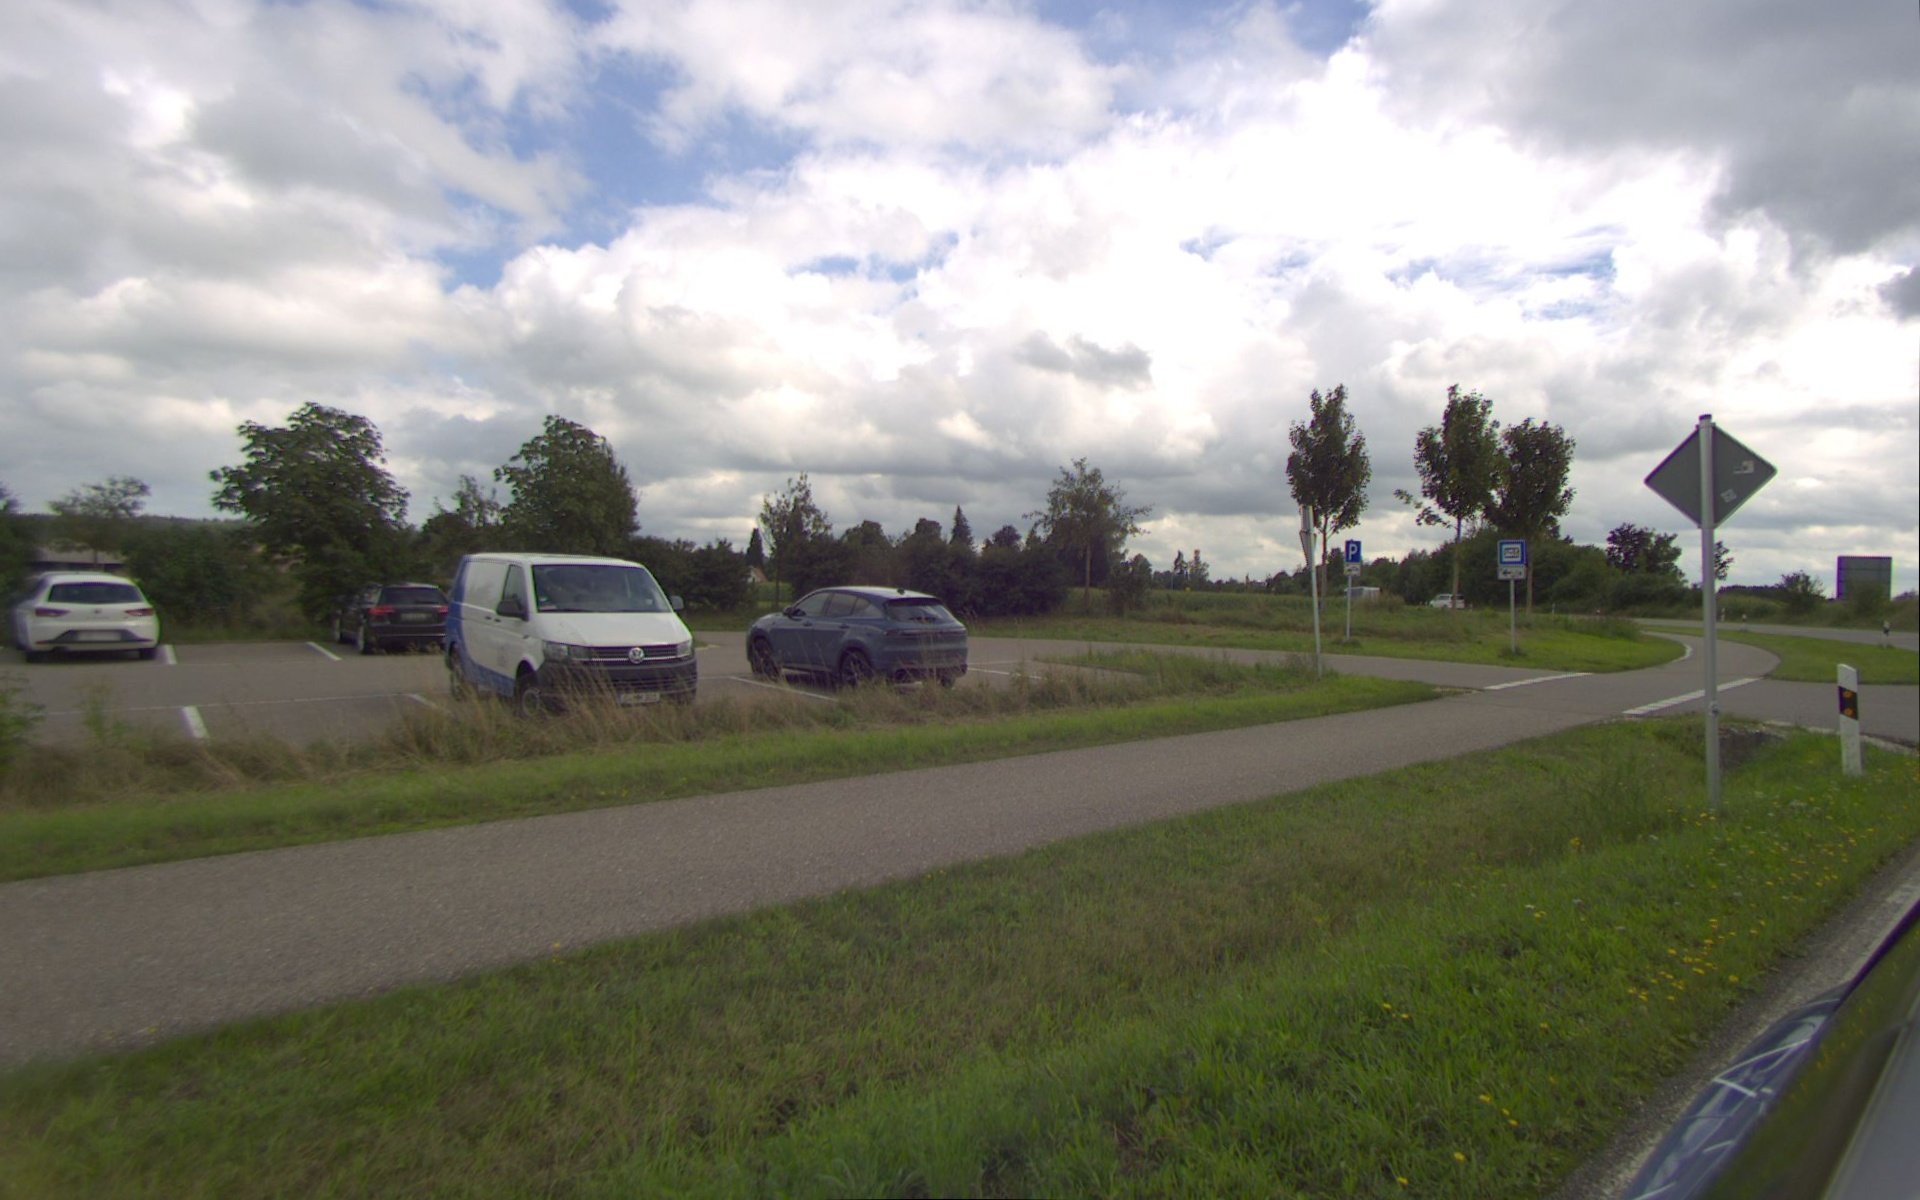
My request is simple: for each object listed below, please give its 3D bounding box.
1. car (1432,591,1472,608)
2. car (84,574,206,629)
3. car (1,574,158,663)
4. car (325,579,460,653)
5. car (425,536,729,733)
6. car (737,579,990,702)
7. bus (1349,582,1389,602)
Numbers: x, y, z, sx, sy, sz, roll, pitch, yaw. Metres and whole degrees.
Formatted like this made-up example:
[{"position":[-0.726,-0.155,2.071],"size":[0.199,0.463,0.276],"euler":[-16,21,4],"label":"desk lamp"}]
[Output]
[{"position":[58.032,-0.085,119.481],"size":[2.079,1.892,5.187],"euler":[1,1,-1],"label":"car"},{"position":[-19.141,0.006,23.705],"size":[1.966,1.182,3.991],"euler":[0,1,-43],"label":"car"},{"position":[-15.685,0.267,17.977],"size":[3.686,1.408,1.732],"euler":[1,1,43],"label":"car"},{"position":[-11.953,0.271,21.228],"size":[1.700,1.408,3.692],"euler":[0,1,-42],"label":"car"},{"position":[-5.013,0.313,12.785],"size":[1.922,1.999,4.952],"euler":[0,1,-42],"label":"car"},{"position":[-1.668,0.522,16.148],"size":[1.807,1.585,4.278],"euler":[0,2,-42],"label":"car"},{"position":[57.446,-1.125,142.309],"size":[2.437,2.745,8.427],"euler":[0,1,2],"label":"bus"}]
